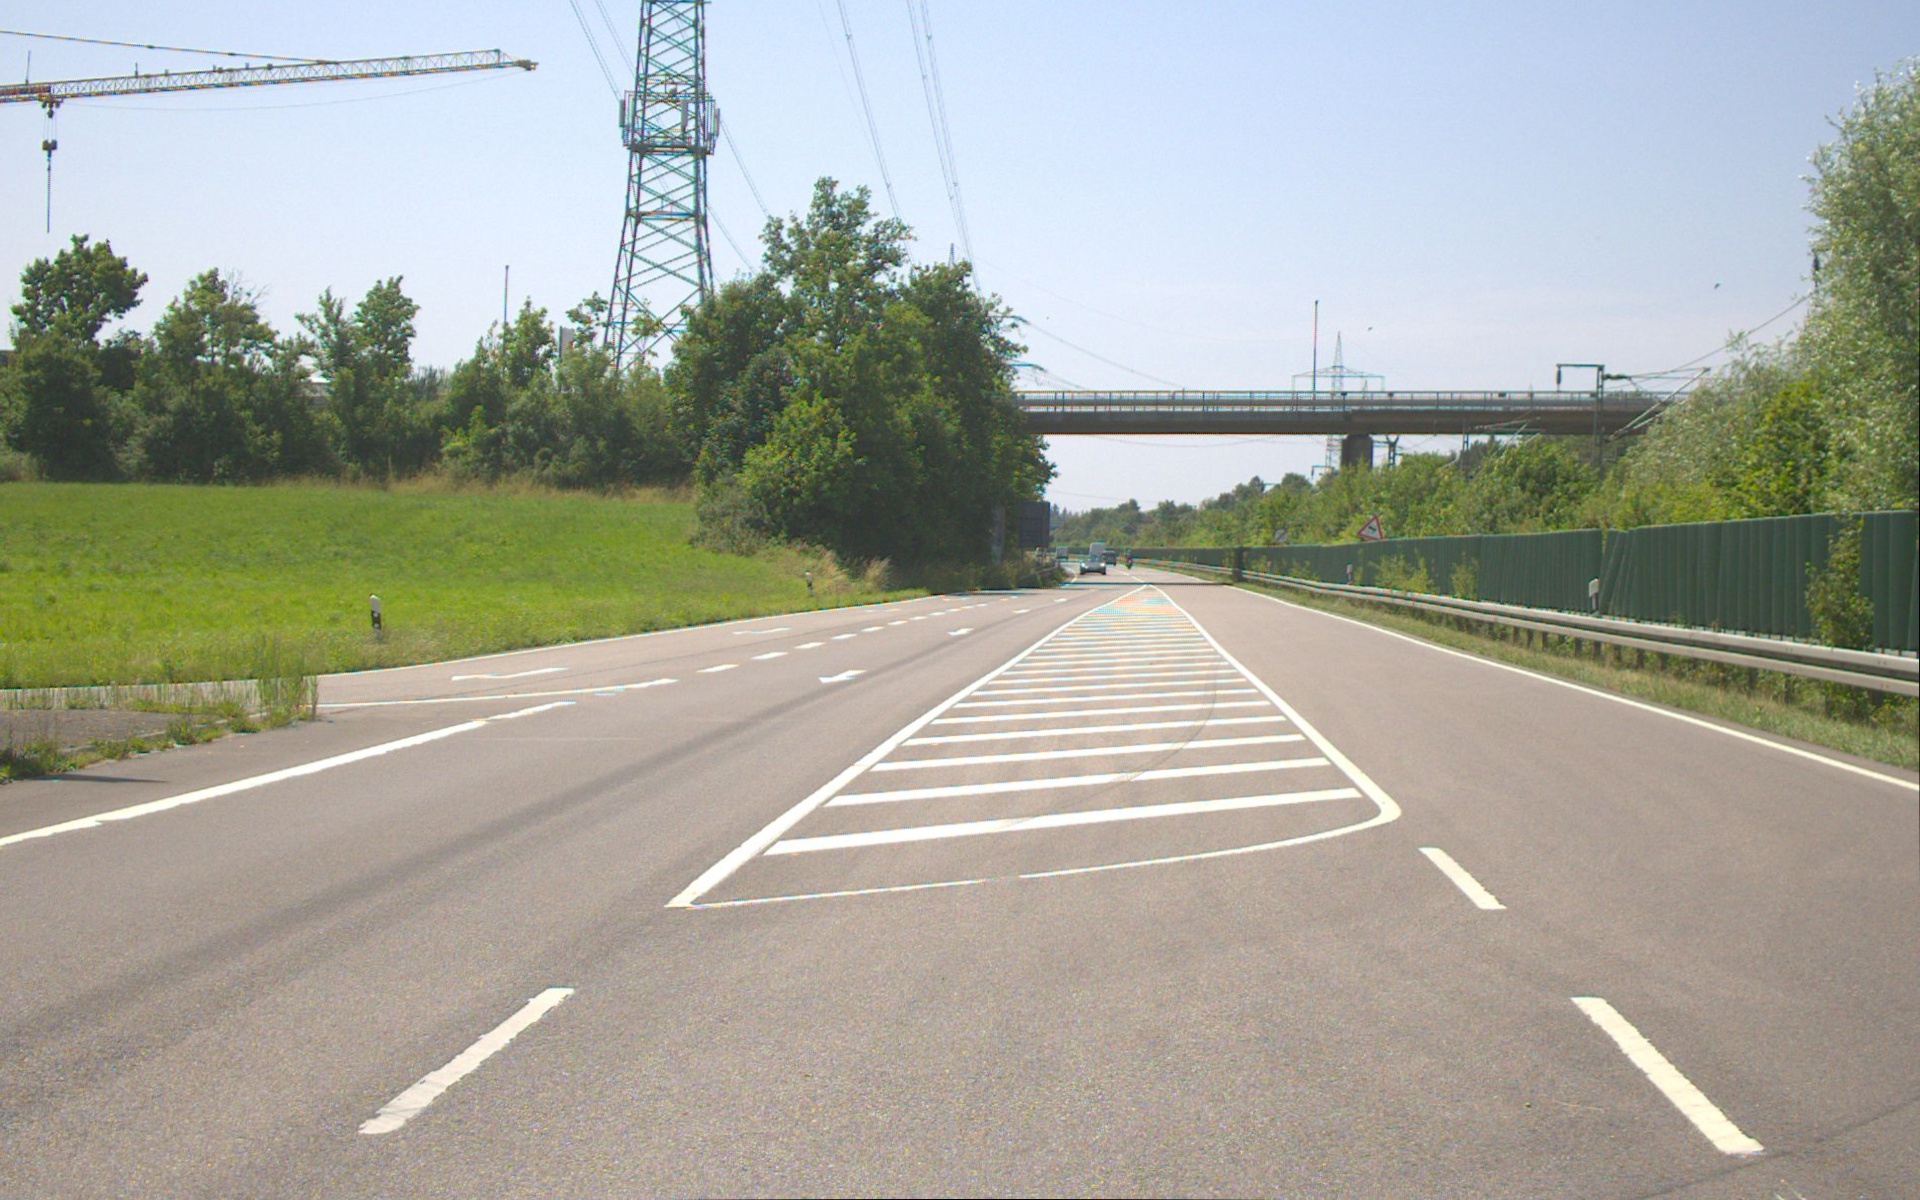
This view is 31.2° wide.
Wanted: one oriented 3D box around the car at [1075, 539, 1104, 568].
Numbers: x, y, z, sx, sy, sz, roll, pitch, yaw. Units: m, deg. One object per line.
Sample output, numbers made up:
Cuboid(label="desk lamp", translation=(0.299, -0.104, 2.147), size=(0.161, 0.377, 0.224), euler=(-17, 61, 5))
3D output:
Cuboid(label="car", translation=(9.202, -3.306, 244.132), size=(1.994, 2.007, 4.000), euler=(2, 1, 2))
